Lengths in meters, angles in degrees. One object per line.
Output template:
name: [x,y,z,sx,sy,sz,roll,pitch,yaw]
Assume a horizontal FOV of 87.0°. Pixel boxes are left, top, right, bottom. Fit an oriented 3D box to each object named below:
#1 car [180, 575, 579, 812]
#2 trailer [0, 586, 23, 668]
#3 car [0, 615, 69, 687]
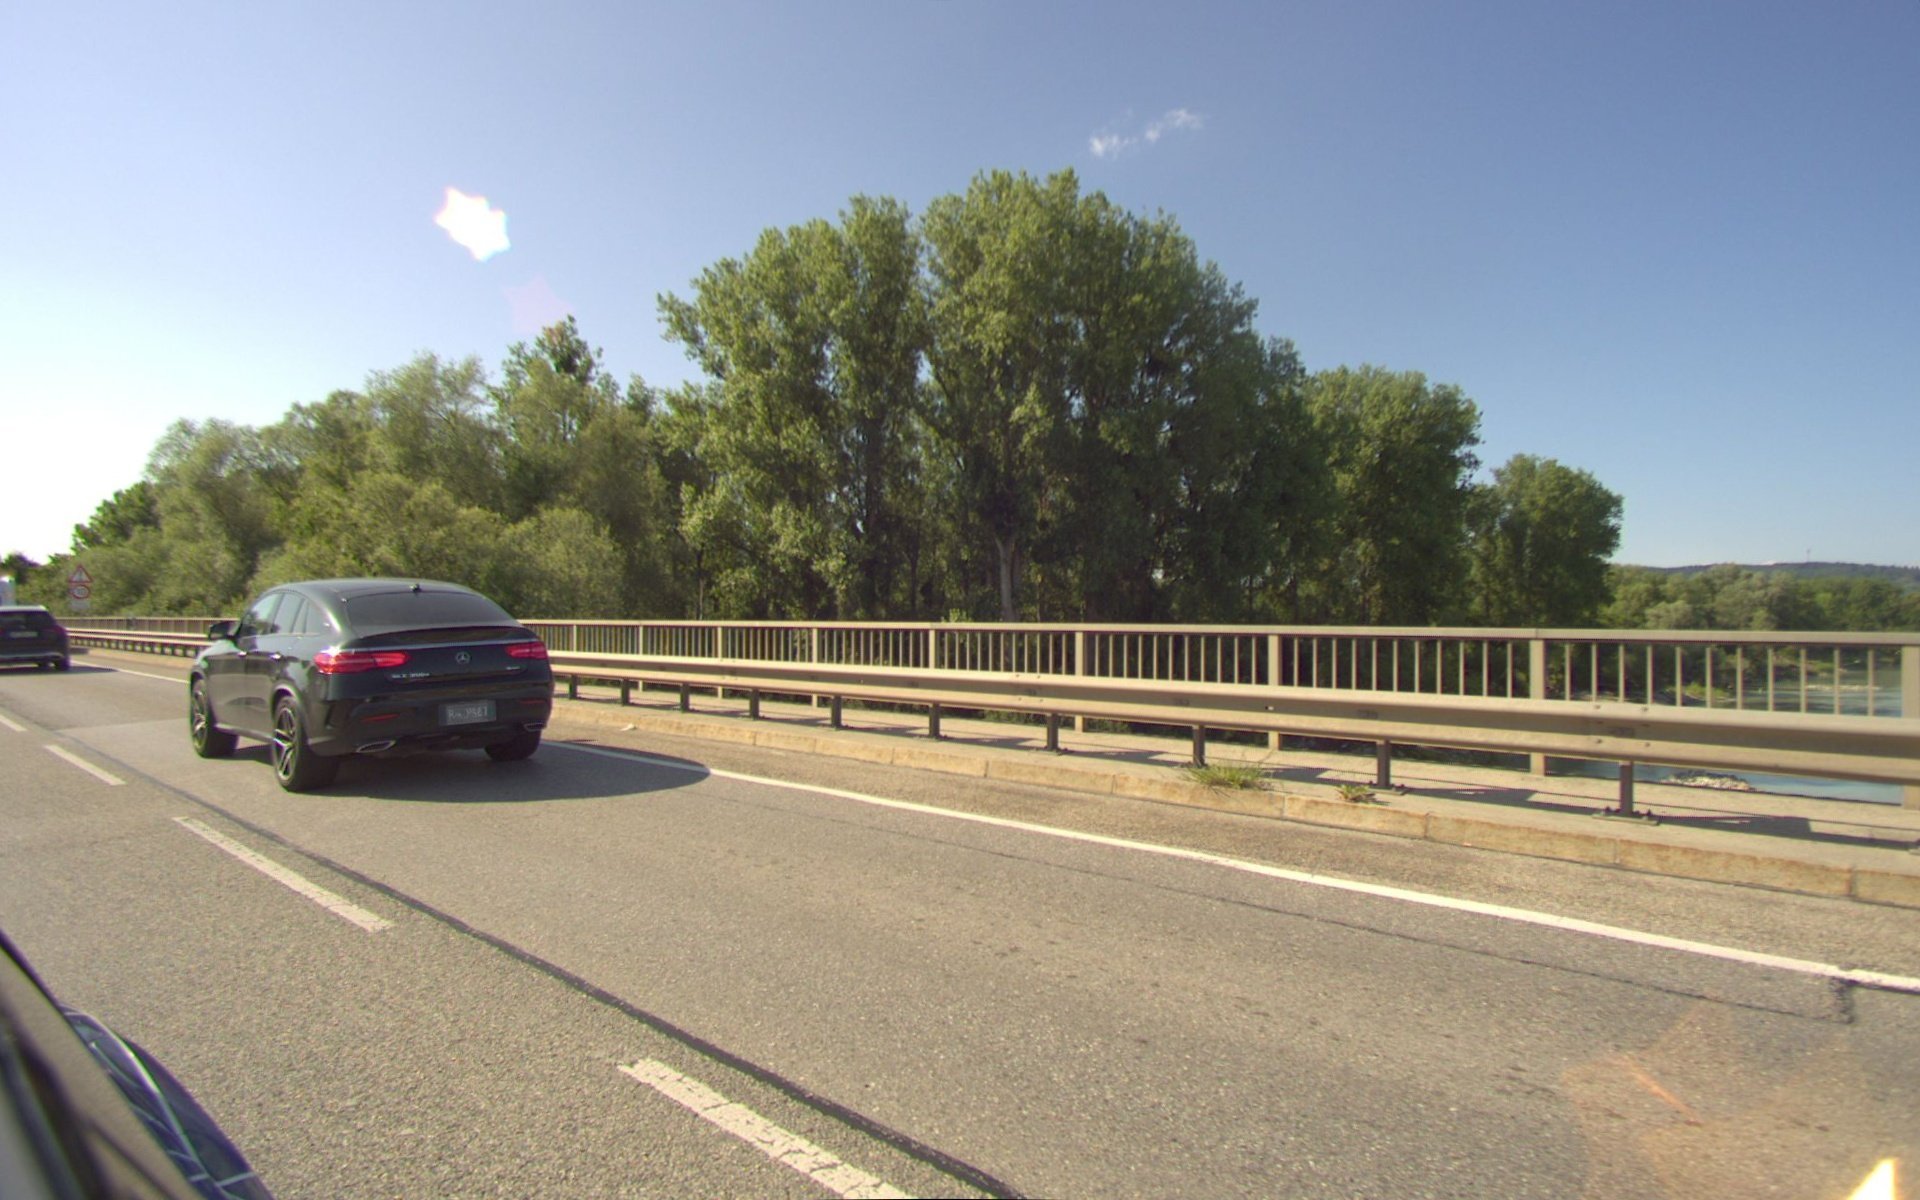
car: [-5.596,0.694,9.493,4.475,1.706,1.928,-1,0,42]
trailer: [-35.748,1.018,36.161,8.061,2.758,2.528,-1,2,42]
car: [-23.807,1.241,25.235,4.430,1.673,1.784,-2,-1,40]
